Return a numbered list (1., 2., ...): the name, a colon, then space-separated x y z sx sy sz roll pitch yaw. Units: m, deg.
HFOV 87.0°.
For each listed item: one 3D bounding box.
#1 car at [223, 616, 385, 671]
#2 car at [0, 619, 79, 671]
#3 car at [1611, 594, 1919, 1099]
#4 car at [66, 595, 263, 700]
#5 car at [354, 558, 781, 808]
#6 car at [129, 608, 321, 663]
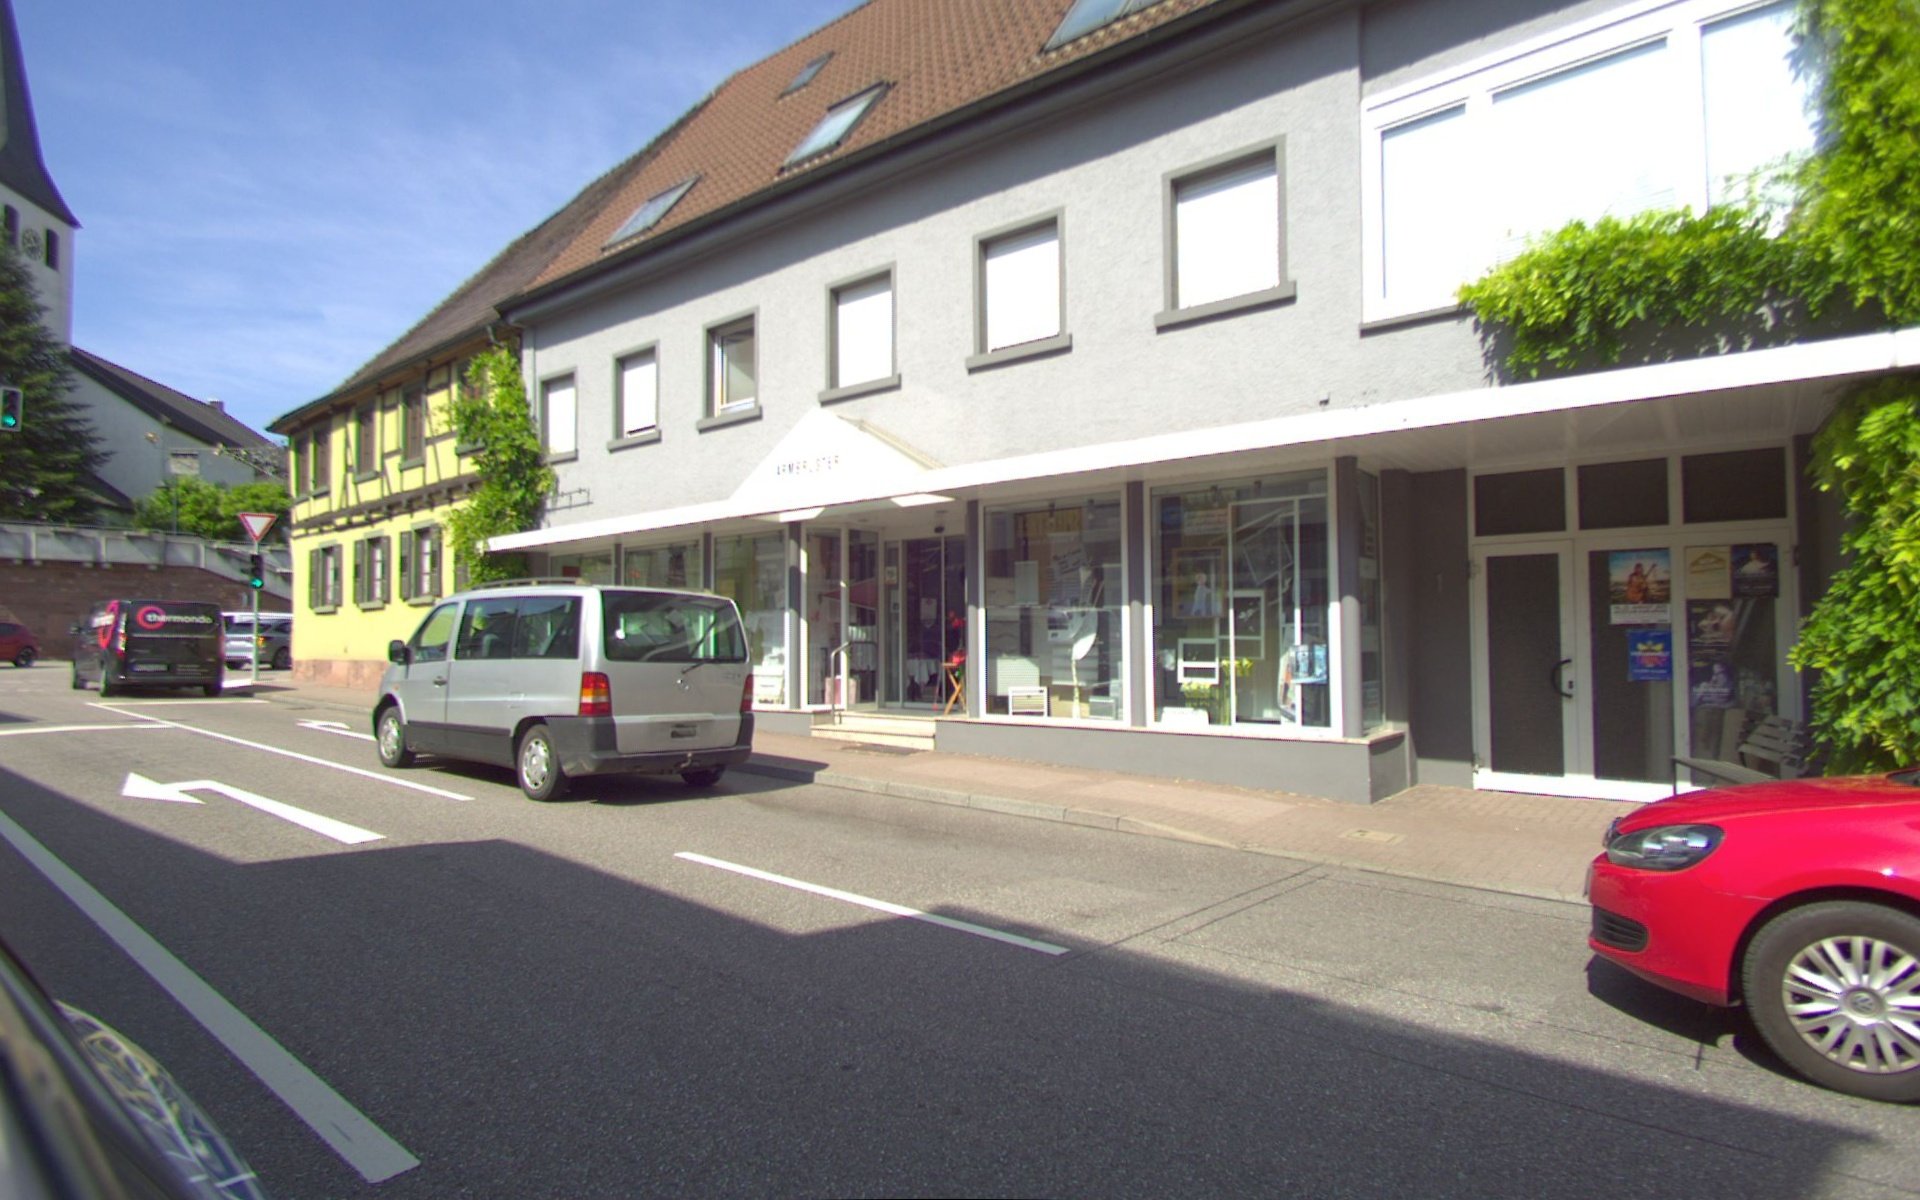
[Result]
1. car: -21.935 1.523 34.080 1.747 1.622 4.402 2 -3 18
2. car: -29.113 1.317 29.725 2.136 1.527 4.945 0 -2 1
3. car: 4.394 0.759 2.904 4.072 1.504 1.741 -1 -4 40
4. car: -16.754 1.006 21.216 5.161 1.938 2.137 -1 -6 40
5. car: -3.993 0.741 9.932 4.547 1.905 1.864 -2 -5 40
6. car: -27.994 1.411 38.718 2.294 1.905 5.513 -2 -5 42
